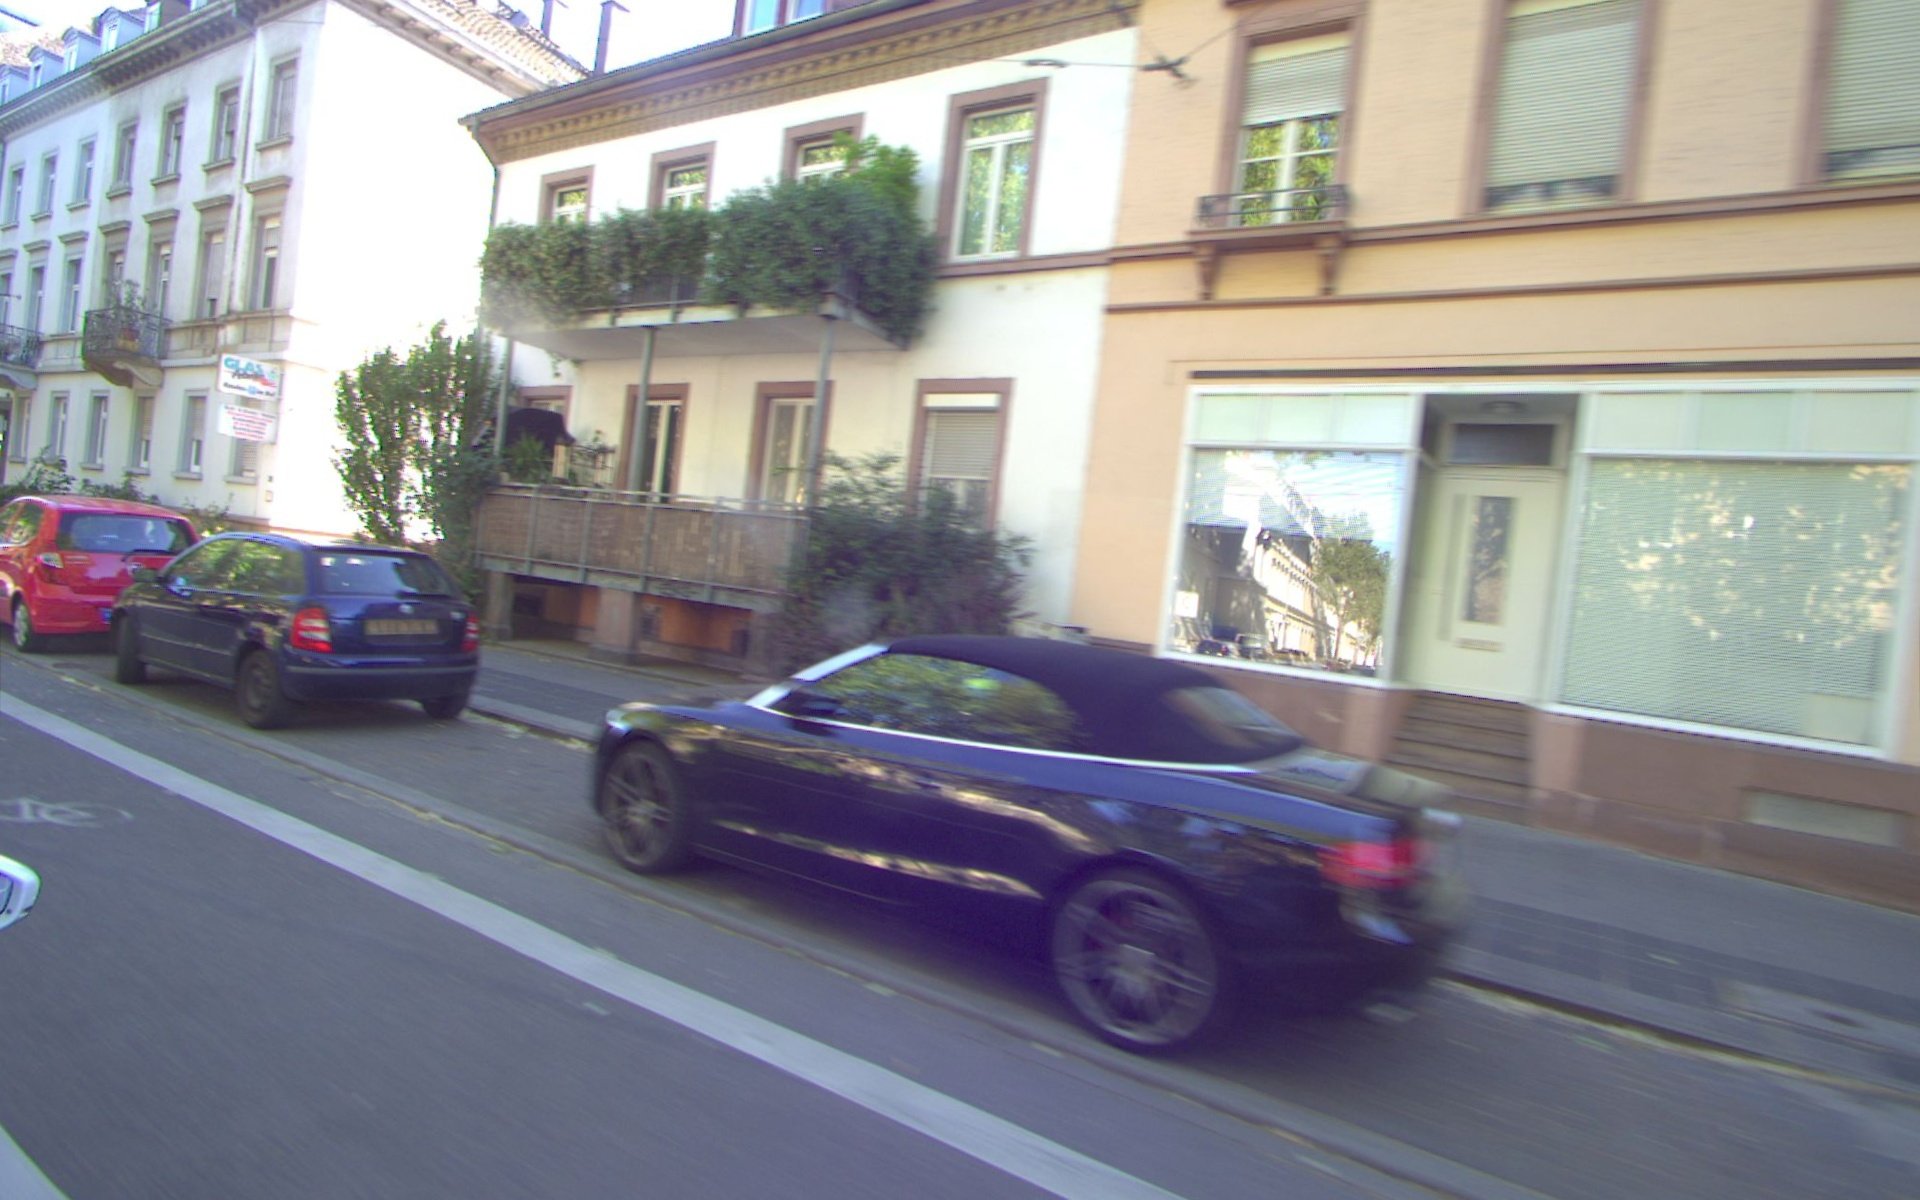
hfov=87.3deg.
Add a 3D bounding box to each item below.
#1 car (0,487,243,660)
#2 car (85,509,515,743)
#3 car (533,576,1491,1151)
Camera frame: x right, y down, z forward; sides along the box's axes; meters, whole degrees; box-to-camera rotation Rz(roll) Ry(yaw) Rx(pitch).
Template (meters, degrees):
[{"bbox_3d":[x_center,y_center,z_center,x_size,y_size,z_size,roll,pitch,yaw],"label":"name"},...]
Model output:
[{"bbox_3d":[-9.632,-0.350,11.049,3.518,1.566,1.635,7,1,34],"label":"car"},{"bbox_3d":[-5.834,0.141,8.779,3.805,1.475,1.652,7,1,32],"label":"car"},{"bbox_3d":[0.001,0.830,5.006,4.422,1.410,1.694,7,1,34],"label":"car"}]
